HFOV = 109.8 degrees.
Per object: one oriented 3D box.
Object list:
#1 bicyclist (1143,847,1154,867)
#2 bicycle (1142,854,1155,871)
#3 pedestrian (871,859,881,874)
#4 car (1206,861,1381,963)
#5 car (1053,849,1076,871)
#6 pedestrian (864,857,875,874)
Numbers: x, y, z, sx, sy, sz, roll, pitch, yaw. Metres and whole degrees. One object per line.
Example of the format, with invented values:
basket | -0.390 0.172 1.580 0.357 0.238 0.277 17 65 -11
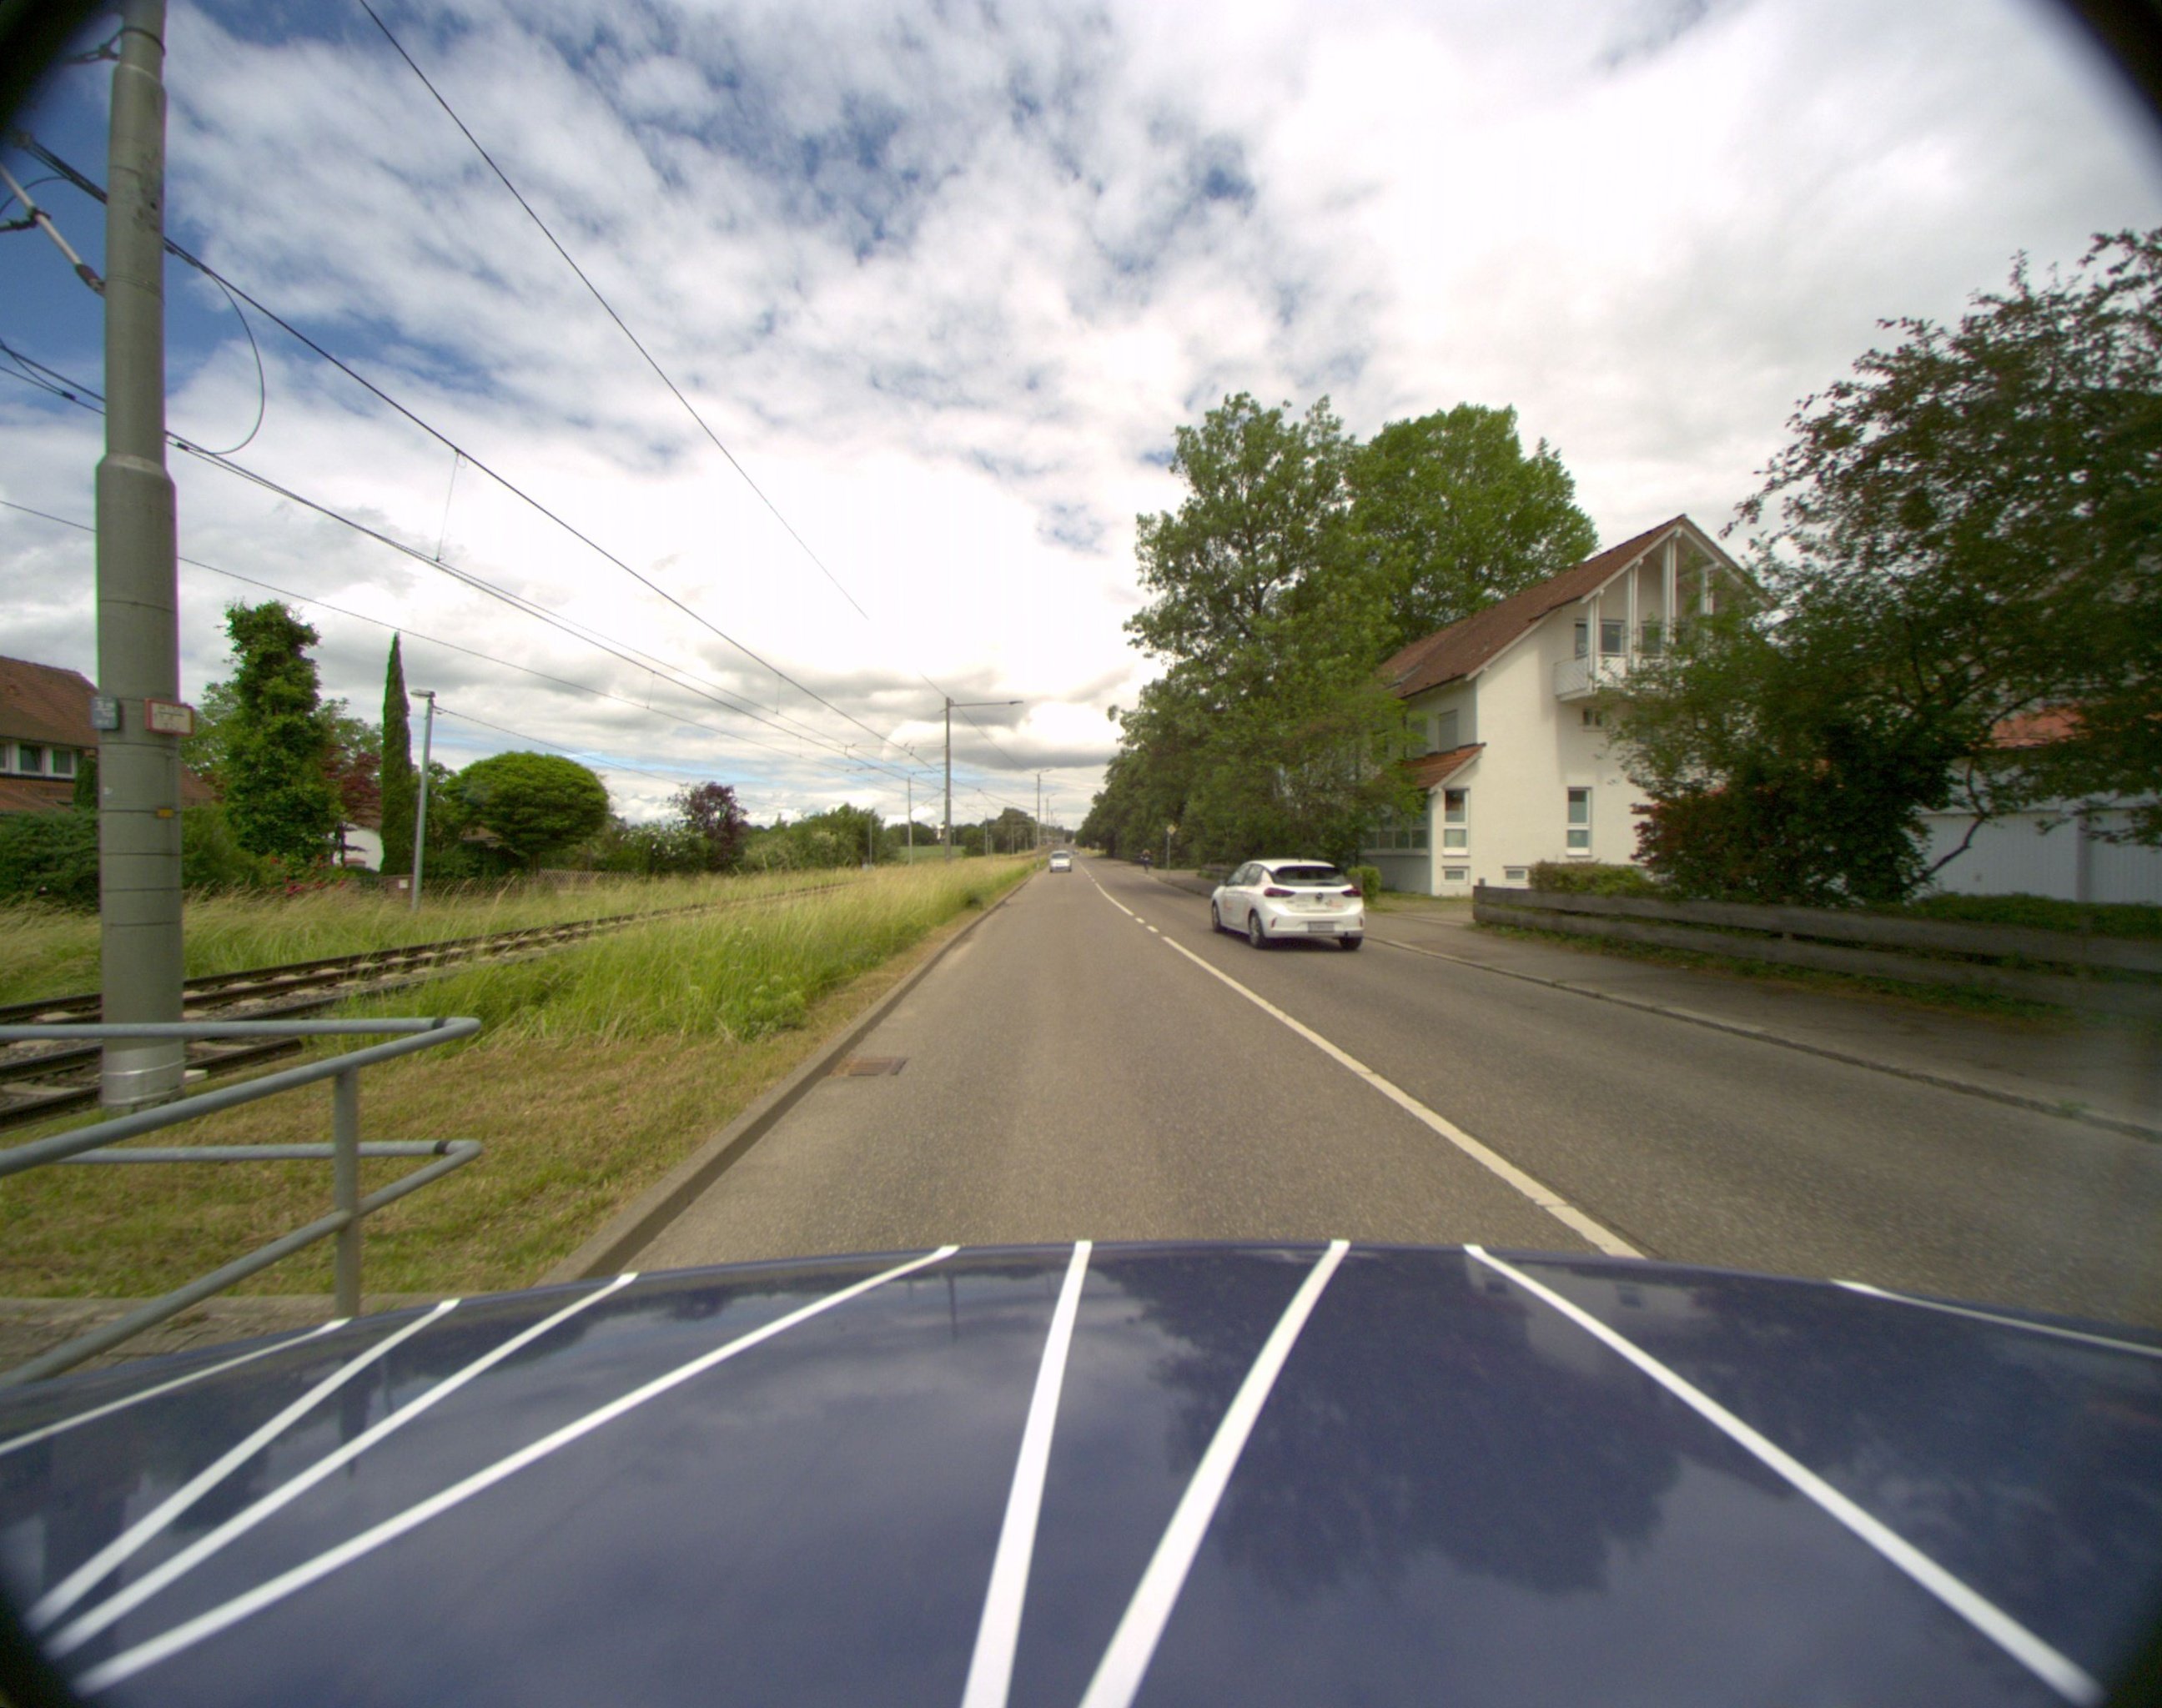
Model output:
bicyclist | 5.135 0.221 57.939 0.780 1.540 0.869 0 1 -1
bicycle | 5.150 0.643 57.901 0.757 1.219 2.308 1 1 -1
pedestrian | -19.306 1.173 71.560 0.598 1.422 0.667 -2 1 30
car | 3.483 0.890 13.212 1.698 1.422 3.784 1 0 -5
car | -1.246 0.460 59.139 1.643 1.510 3.868 -2 1 -1
pedestrian | -19.960 1.107 71.722 0.617 1.613 0.585 -2 1 31
